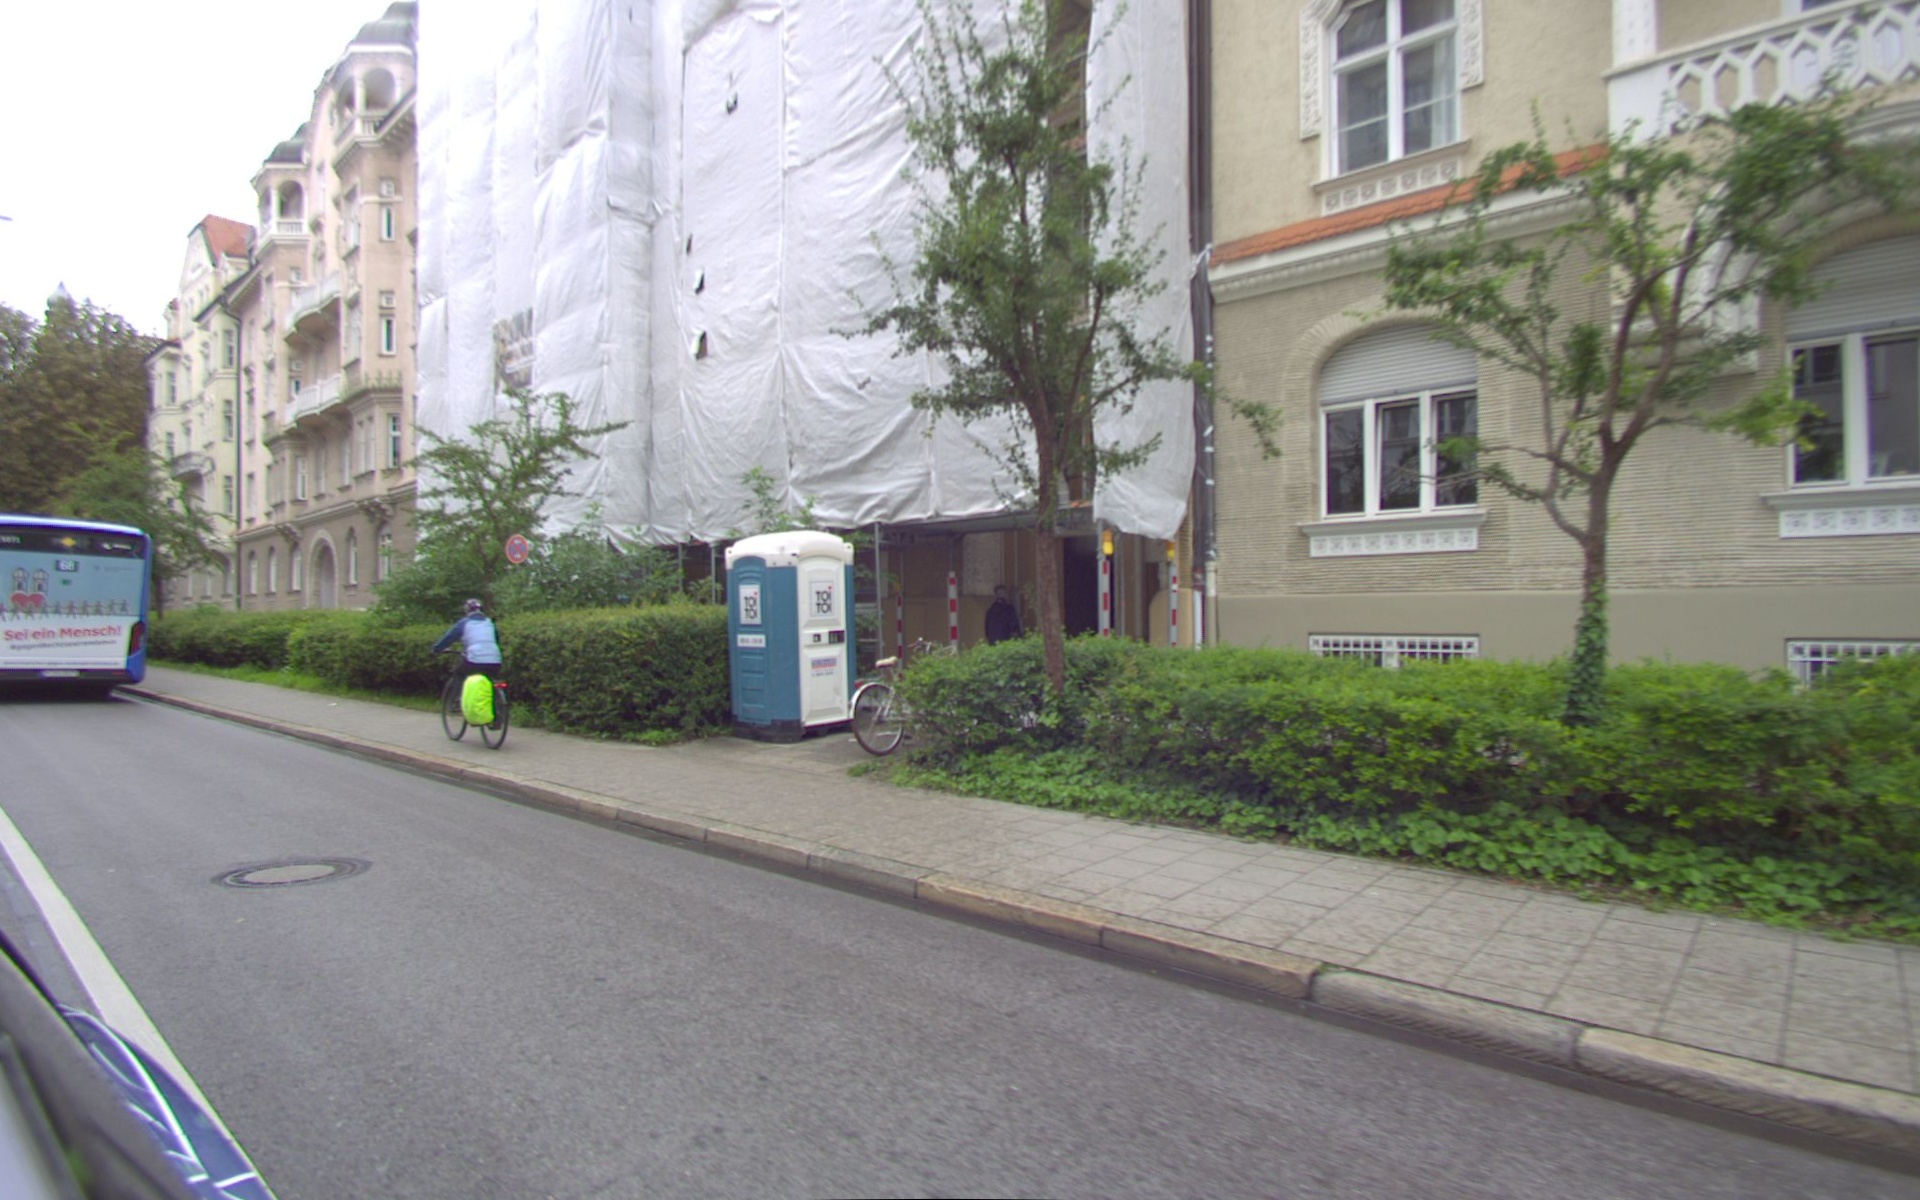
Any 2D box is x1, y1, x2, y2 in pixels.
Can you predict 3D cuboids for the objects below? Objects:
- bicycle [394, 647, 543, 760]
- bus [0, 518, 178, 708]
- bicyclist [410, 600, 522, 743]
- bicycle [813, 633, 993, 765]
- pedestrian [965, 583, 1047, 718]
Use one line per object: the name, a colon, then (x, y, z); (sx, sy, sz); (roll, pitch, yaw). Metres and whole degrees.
bicycle: (-5.582, 1.115, 11.440); (2.049, 1.090, 0.760); (-1, 0, 41)
bus: (-22.492, 0.369, 24.023); (18.055, 3.236, 3.137); (-1, -3, 43)
bicyclist: (-5.579, 0.767, 11.419); (1.060, 1.504, 0.760); (-1, 0, 41)
bicycle: (-0.553, 0.971, 10.486); (0.690, 1.085, 1.839); (-1, 3, 44)
pedestrian: (0.624, 0.656, 13.661); (0.773, 1.759, 0.761); (-1, 0, 40)
